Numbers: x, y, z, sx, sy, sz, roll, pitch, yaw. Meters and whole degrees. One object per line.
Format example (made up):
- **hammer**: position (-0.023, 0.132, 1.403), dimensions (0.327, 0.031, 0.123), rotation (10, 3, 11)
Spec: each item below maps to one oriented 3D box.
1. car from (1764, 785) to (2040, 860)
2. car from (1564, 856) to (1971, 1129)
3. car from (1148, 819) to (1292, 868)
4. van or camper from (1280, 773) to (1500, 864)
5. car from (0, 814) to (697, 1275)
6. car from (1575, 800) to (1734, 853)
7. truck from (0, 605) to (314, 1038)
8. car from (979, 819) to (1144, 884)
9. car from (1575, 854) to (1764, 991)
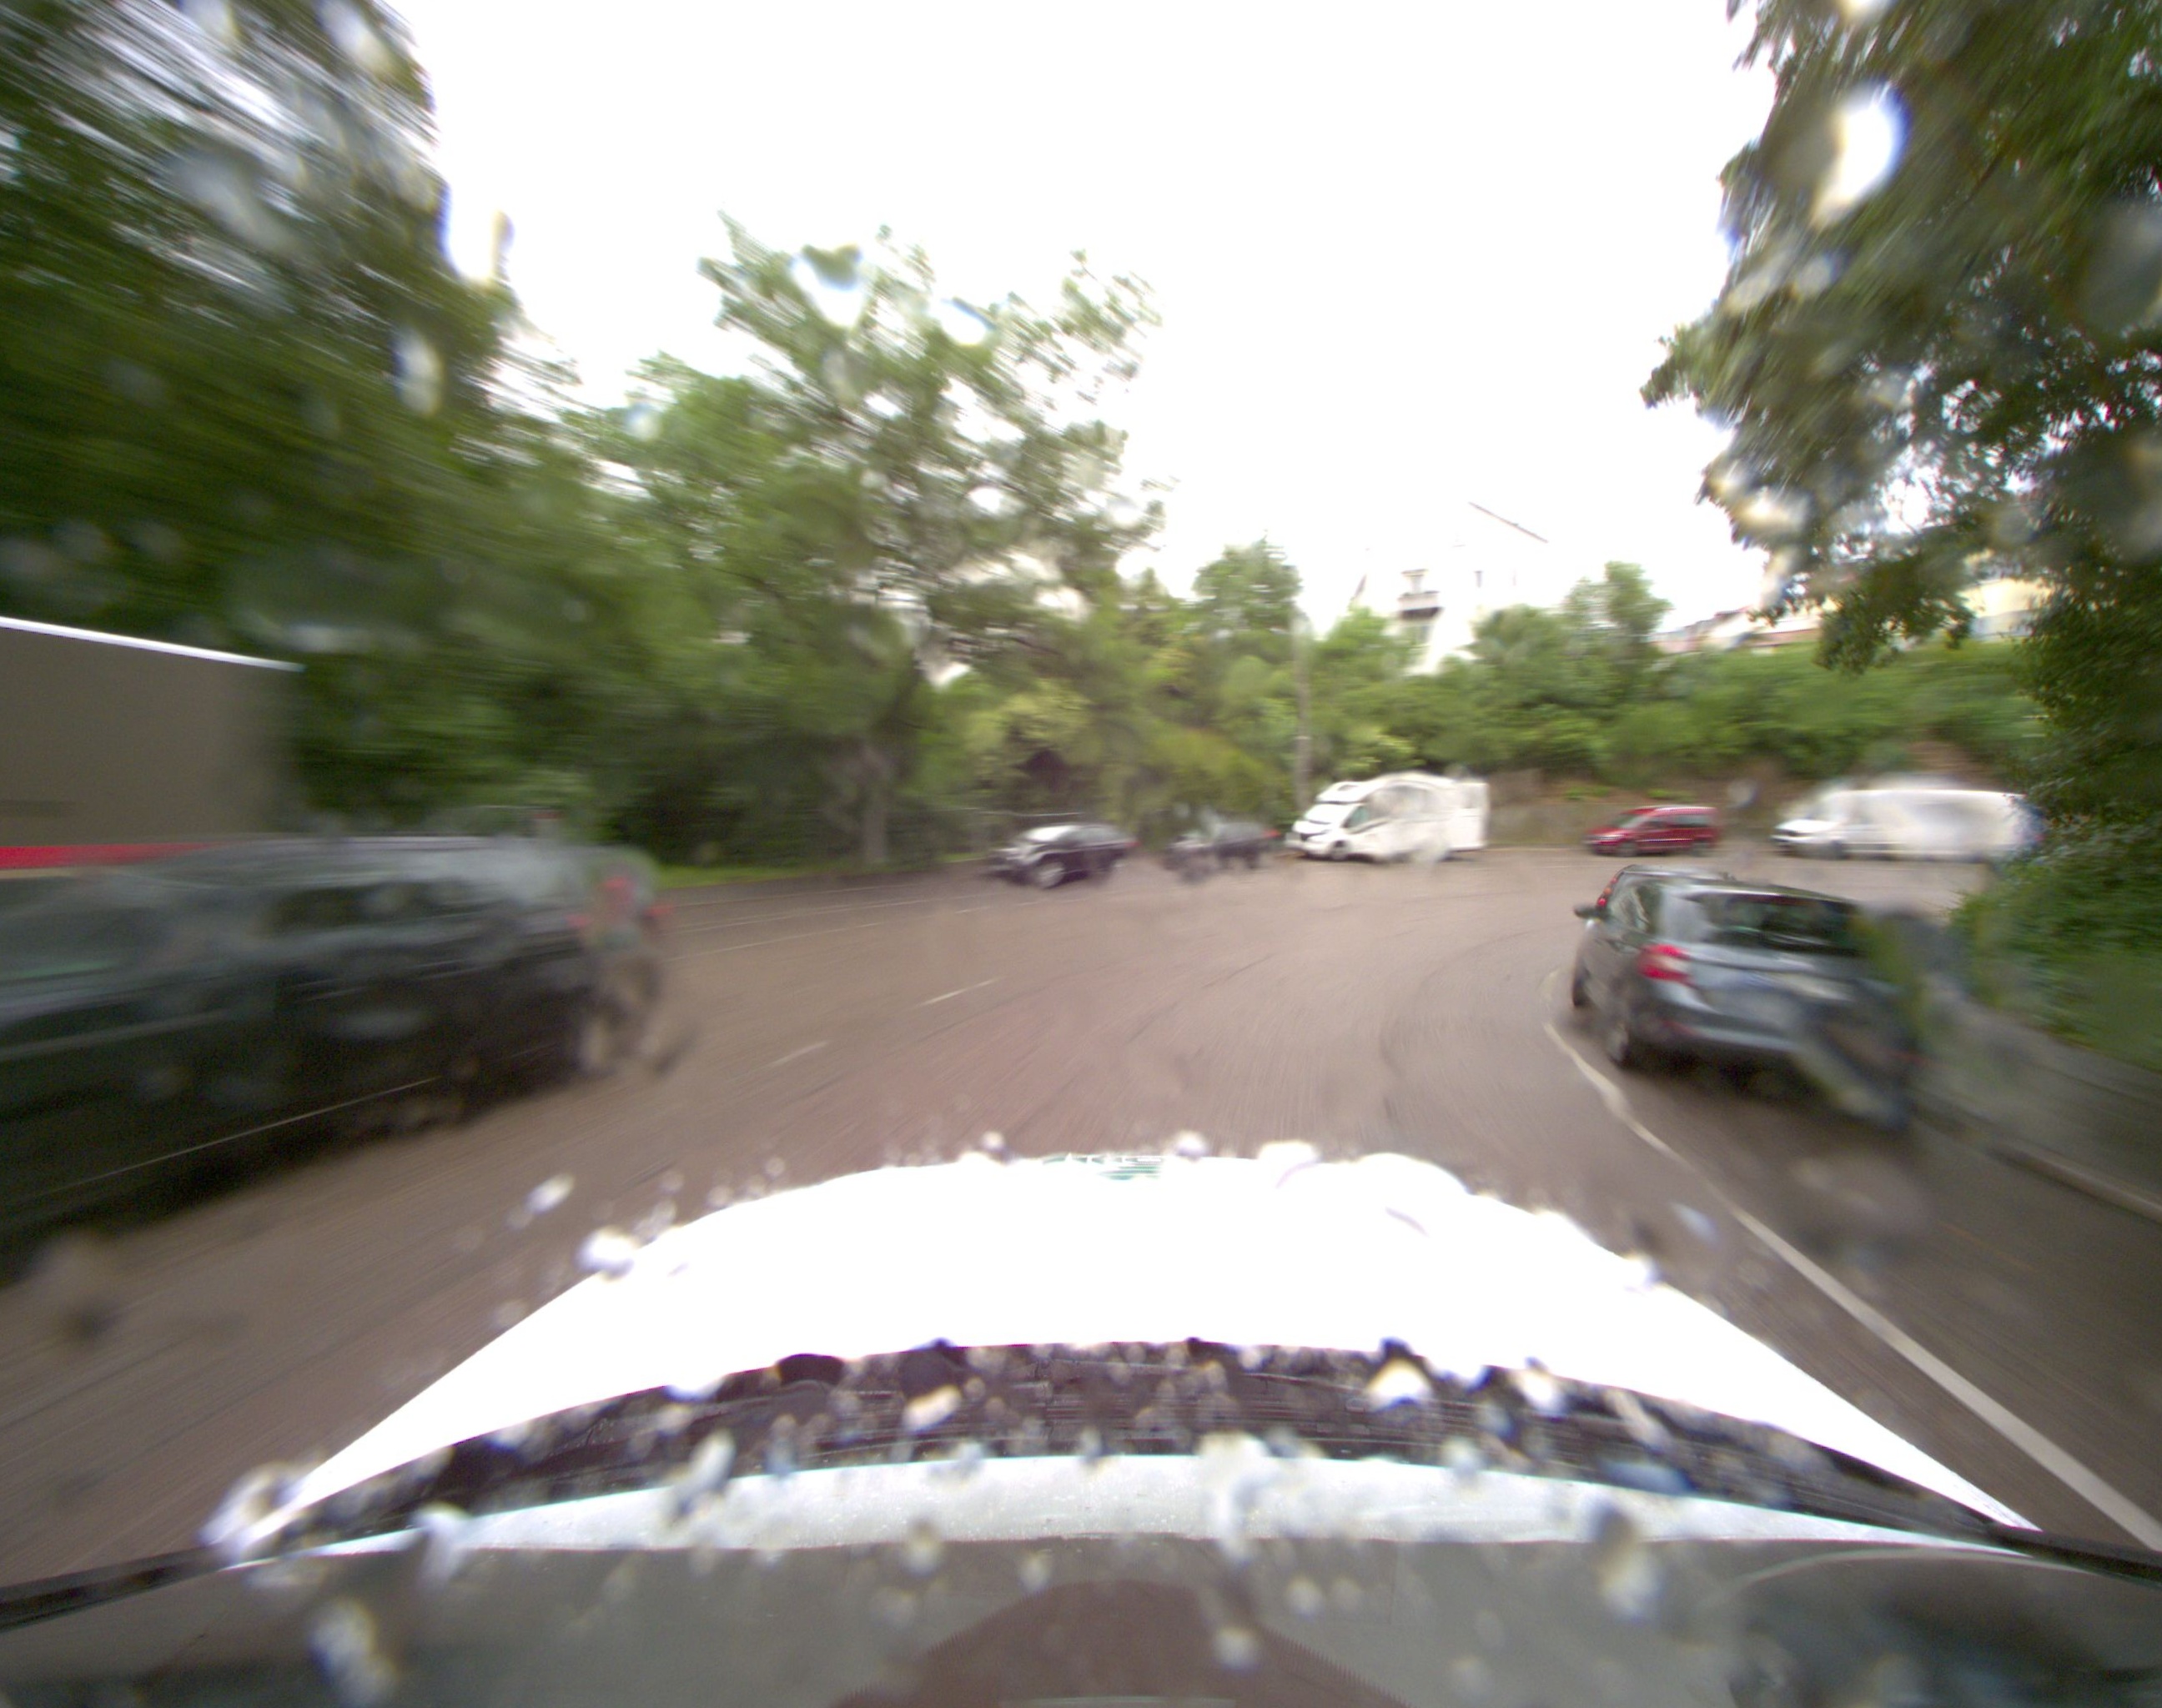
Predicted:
- **car**: position (30.540, -1.252, 30.627), dimensions (7.049, 2.535, 2.339), rotation (1, 6, 12)
- **car**: position (5.335, 0.828, 6.984), dimensions (1.634, 1.464, 4.056), rotation (3, 2, 25)
- **car**: position (4.372, -0.374, 25.448), dimensions (4.326, 1.355, 1.743), rotation (-1, 5, -30)
- **van or camper**: position (10.924, -1.356, 28.702), dimensions (7.664, 2.931, 2.187), rotation (-2, 5, -21)
- **car**: position (-4.102, 0.586, 3.993), dimensions (1.747, 1.518, 4.103), rotation (1, 2, 15)
- **car**: position (22.156, -1.074, 31.584), dimensions (4.898, 1.887, 1.793), rotation (0, 5, -4)
- **truck**: position (-9.021, -0.214, 4.731), dimensions (2.020, 3.102, 6.636), rotation (1, 1, 12)
- **car**: position (-0.426, -0.160, 21.465), dimensions (1.762, 1.464, 4.338), rotation (5, 6, 45)
- **car**: position (8.329, 0.802, 11.395), dimensions (1.669, 1.407, 3.752), rotation (4, 4, 42)
